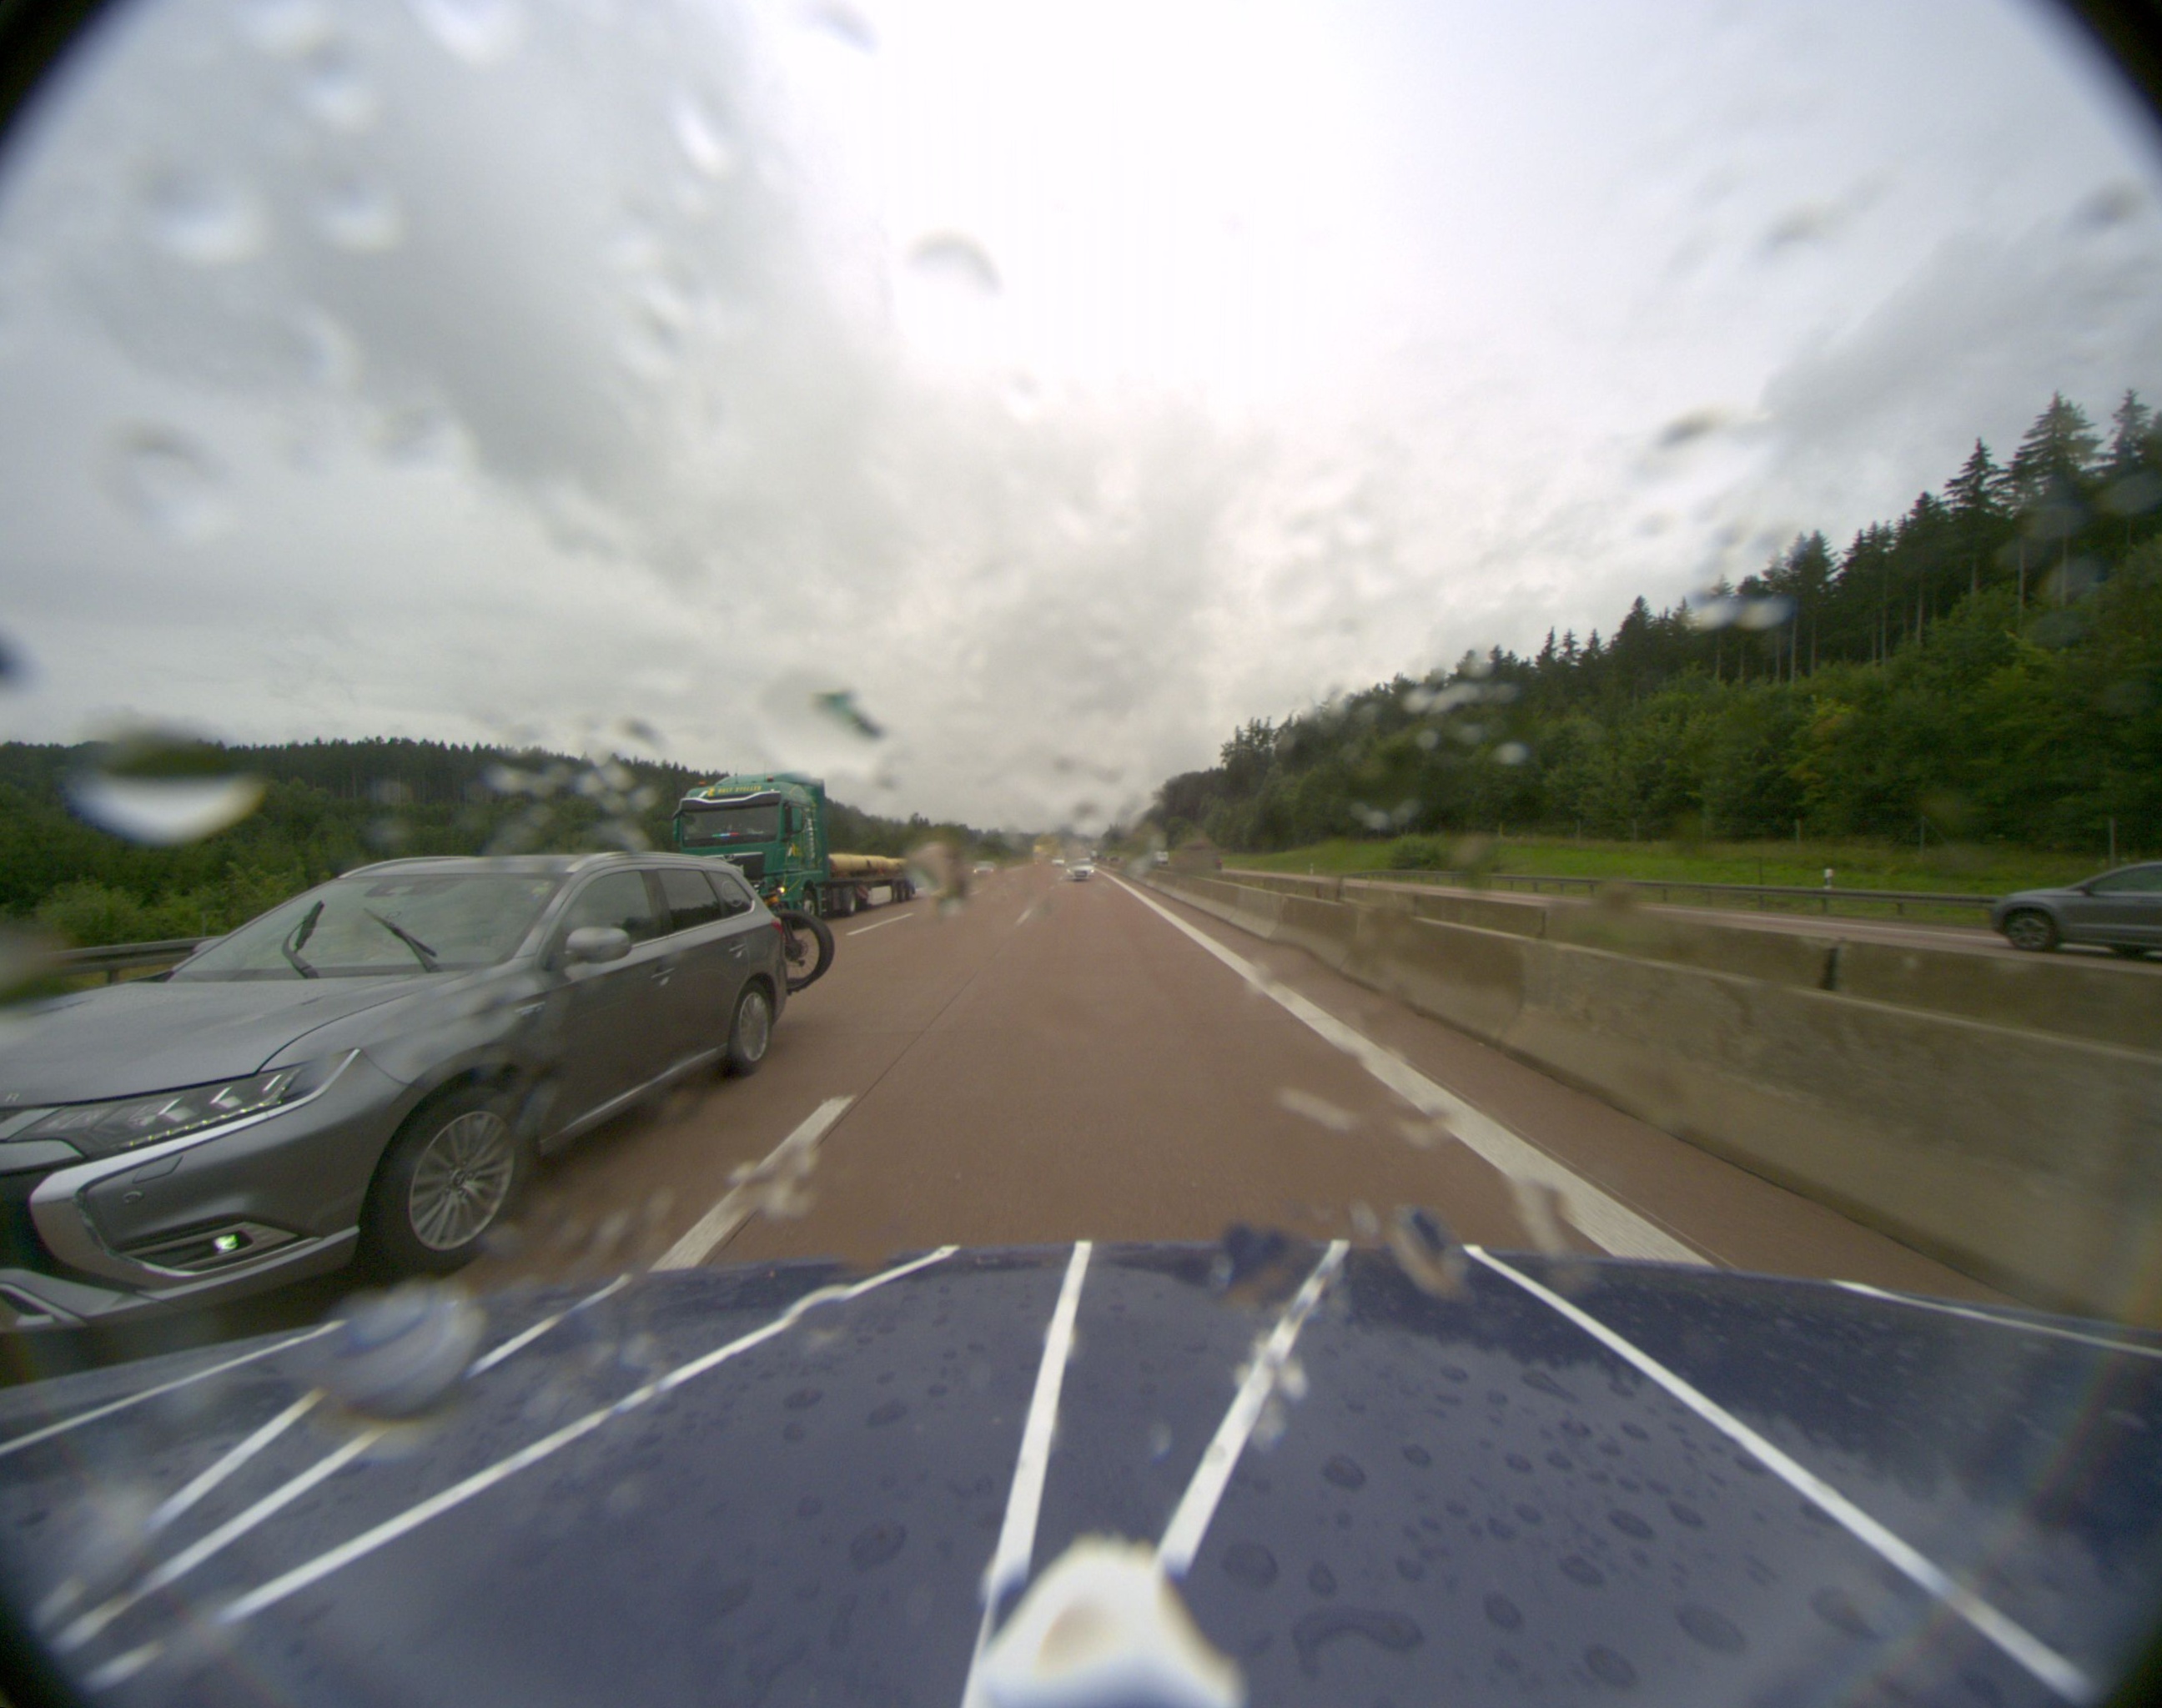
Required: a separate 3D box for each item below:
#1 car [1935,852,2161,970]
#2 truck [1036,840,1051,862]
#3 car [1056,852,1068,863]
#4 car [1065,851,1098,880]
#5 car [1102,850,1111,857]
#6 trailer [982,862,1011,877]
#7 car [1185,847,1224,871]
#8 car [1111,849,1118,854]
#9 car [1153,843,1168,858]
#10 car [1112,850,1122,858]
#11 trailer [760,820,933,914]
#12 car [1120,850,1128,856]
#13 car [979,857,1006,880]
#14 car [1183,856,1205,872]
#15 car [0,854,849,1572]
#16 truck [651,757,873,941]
[{"bbox_3d":[16.538,0.852,10.954,1.999,1.551,5.742,-2,1,0],"label":"car"},{"bbox_3d":[-7.581,-0.689,152.968,2.610,4.190,6.248,-2,2,-1],"label":"truck"},{"bbox_3d":[-3.137,0.504,126.432,1.999,1.623,4.929,-2,1,-1],"label":"car"},{"bbox_3d":[-0.001,0.694,49.051,1.999,1.623,4.929,-2,1,-1],"label":"car"},{"bbox_3d":[6.884,-0.098,205.437,1.999,2.002,5.525,-1,0,-2],"label":"car"},{"bbox_3d":[-7.310,1.321,66.033,1.977,1.159,4.638,-2,0,-1],"label":"trailer"},{"bbox_3d":[8.476,0.323,52.461,1.869,1.542,4.807,-2,0,1],"label":"car"},{"bbox_3d":[10.642,-0.868,239.182,1.793,1.548,4.864,1,0,-1],"label":"car"},{"bbox_3d":[15.271,-0.670,146.219,2.229,2.570,6.253,-2,1,1],"label":"car"},{"bbox_3d":[8.356,0.085,177.211,1.998,1.816,4.686,-1,0,0],"label":"car"},{"bbox_3d":[-8.065,0.255,28.251,2.889,2.660,11.394,-2,1,-1],"label":"trailer"},{"bbox_3d":[11.136,-0.228,196.562,1.654,1.381,4.809,2,0,-1],"label":"car"},{"bbox_3d":[-7.144,1.143,61.499,1.702,1.602,4.974,-1,1,-2],"label":"car"},{"bbox_3d":[12.347,1.056,83.259,1.720,1.573,4.315,0,1,0],"label":"car"},{"bbox_3d":[-3.374,0.901,4.714,1.998,1.584,5.818,-2,1,0],"label":"car"},{"bbox_3d":[-8.007,-0.189,20.334,2.905,3.942,6.986,-2,2,-1],"label":"truck"}]
